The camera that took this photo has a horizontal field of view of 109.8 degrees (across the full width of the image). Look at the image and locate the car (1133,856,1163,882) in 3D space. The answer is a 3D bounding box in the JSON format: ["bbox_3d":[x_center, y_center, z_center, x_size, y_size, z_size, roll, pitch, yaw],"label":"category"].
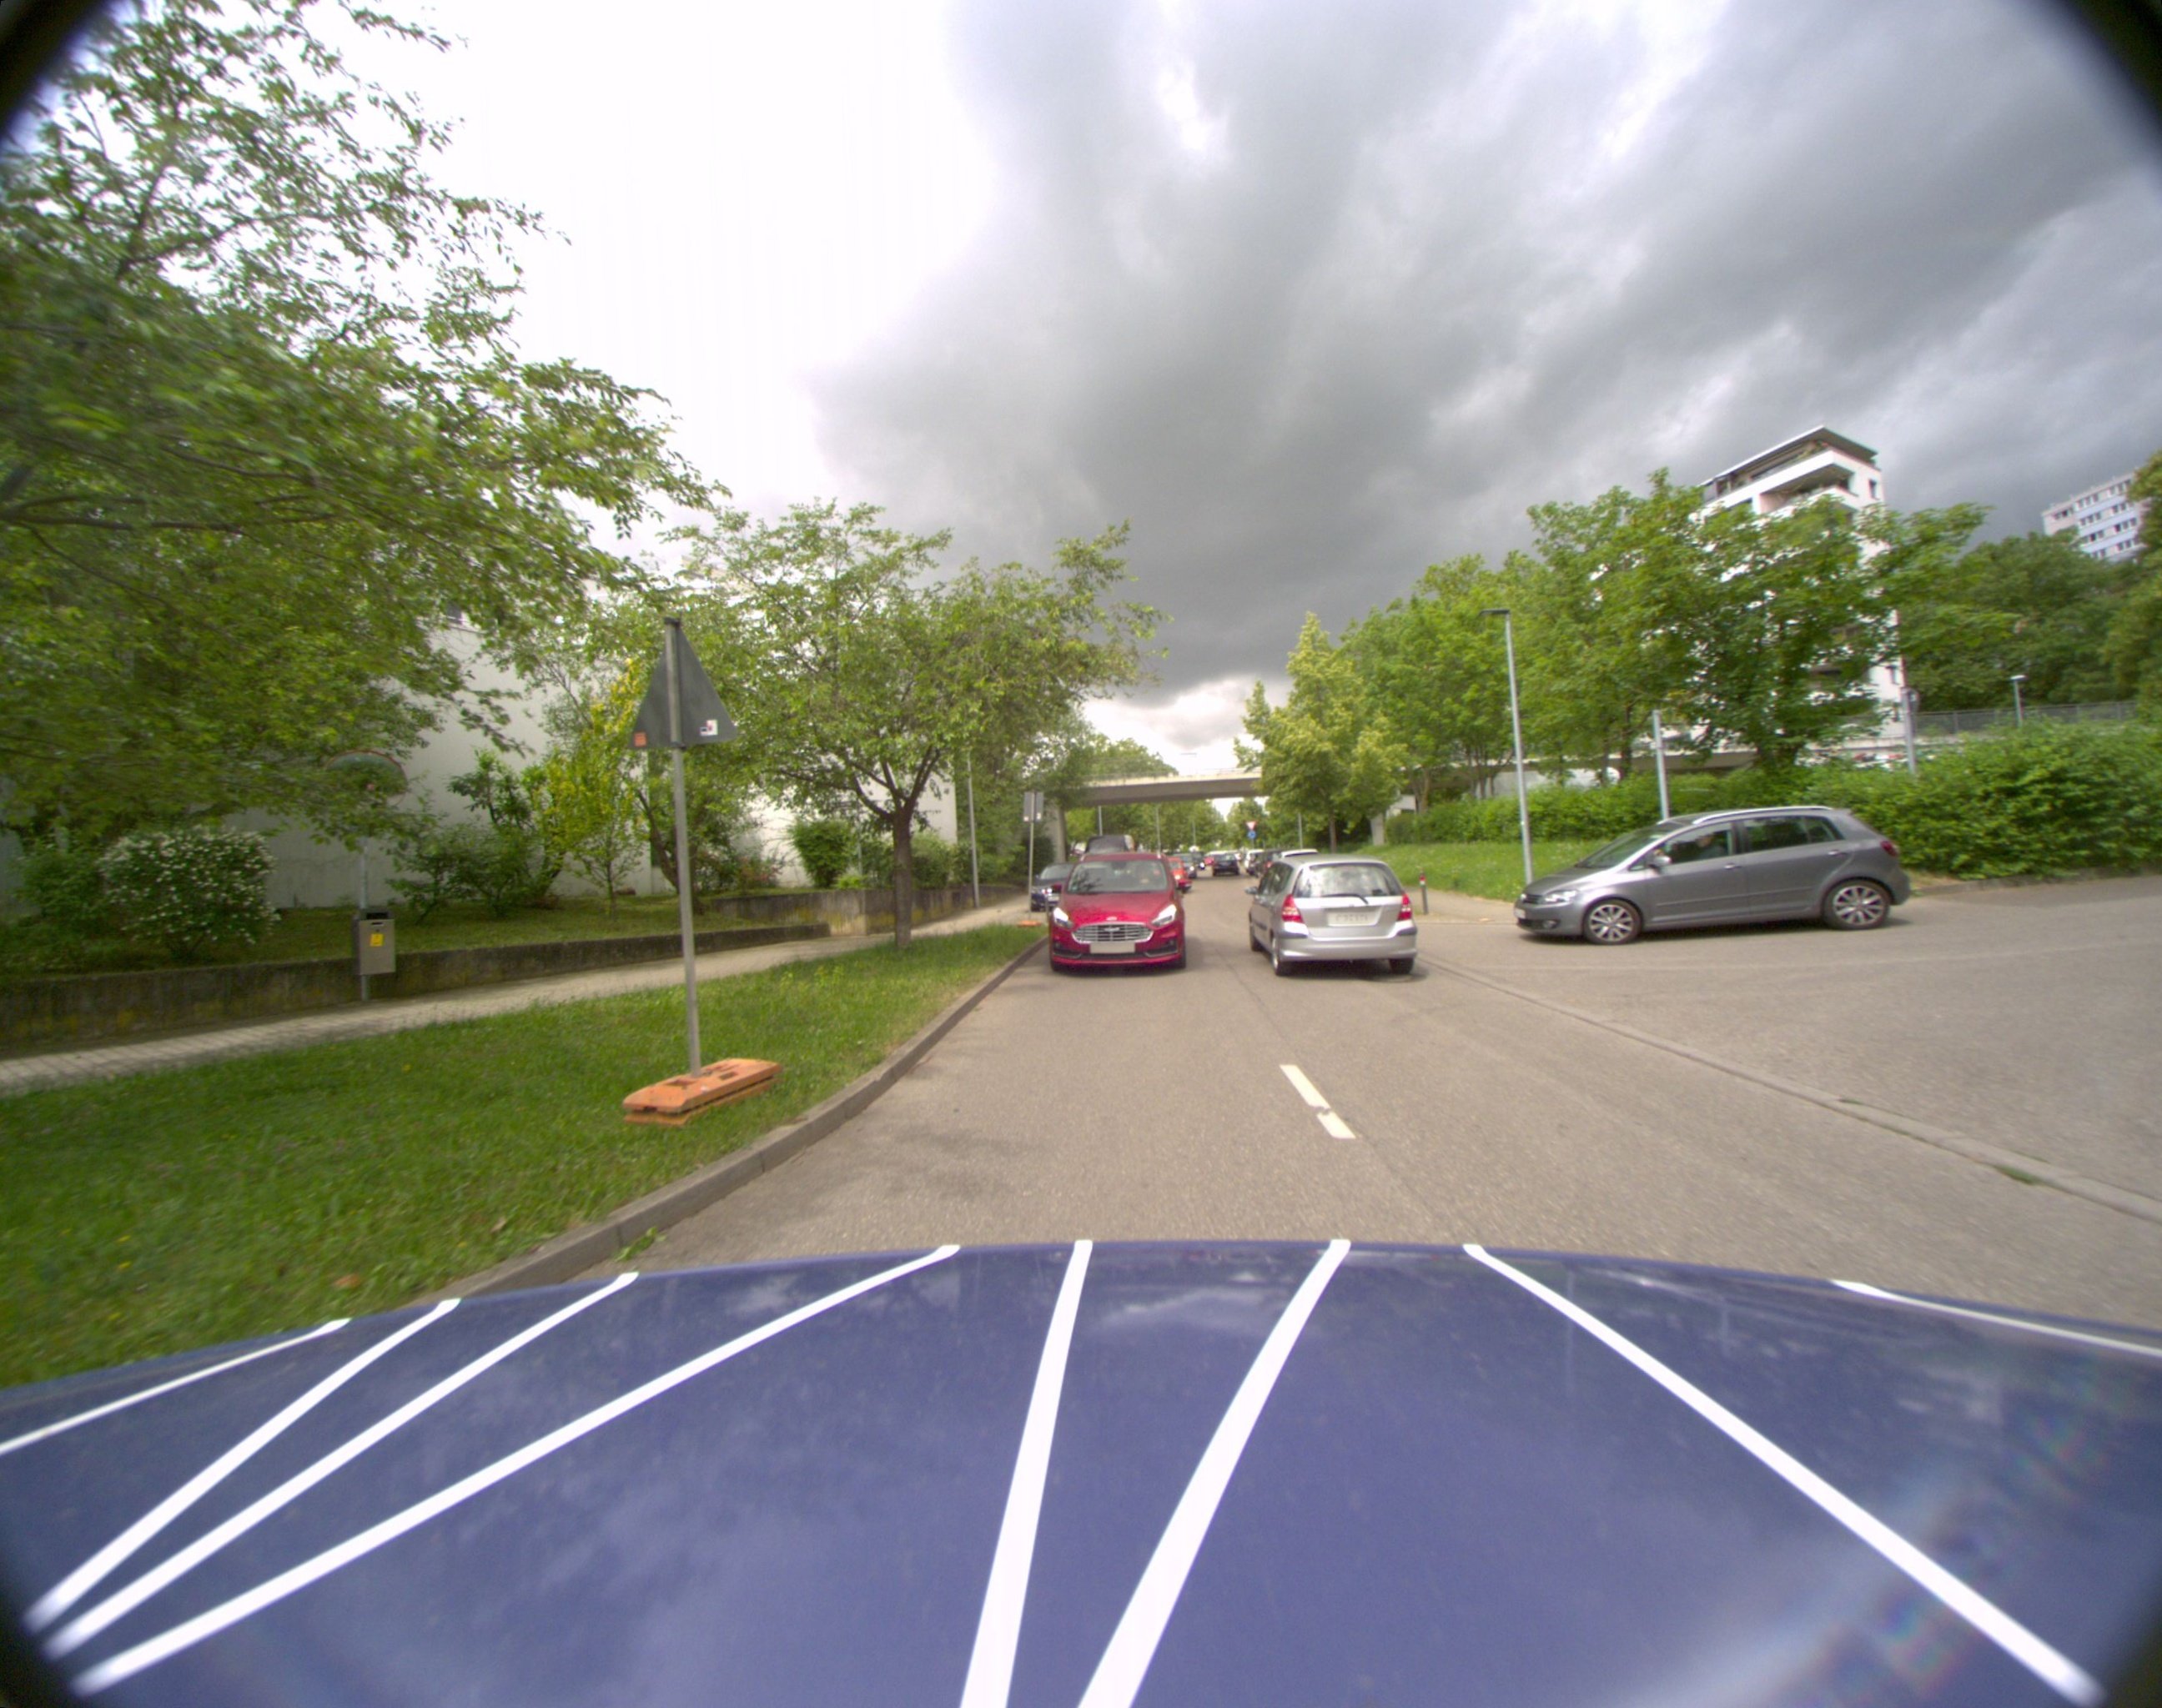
[{"bbox_3d":[4.521,0.978,51.157,1.603,1.533,3.725,-3,0,11],"label":"car"}]

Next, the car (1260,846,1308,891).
[{"bbox_3d":[8.331,0.563,31.366,1.597,1.575,2.687,-7,0,12],"label":"car"}]

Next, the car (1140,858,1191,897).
[{"bbox_3d":[3.579,0.945,31.624,1.860,1.434,4.003,-3,-1,9],"label":"car"}]

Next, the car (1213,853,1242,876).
[{"bbox_3d":[9.769,0.704,50.894,1.755,1.411,4.371,-2,0,10],"label":"car"}]

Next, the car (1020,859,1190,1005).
[{"bbox_3d":[0.528,0.936,10.715,1.811,1.600,3.725,-2,0,11],"label":"car"}]

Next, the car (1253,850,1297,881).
[{"bbox_3d":[10.455,0.572,41.165,1.812,1.472,4.489,-4,0,9],"label":"car"}]

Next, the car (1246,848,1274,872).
[{"bbox_3d":[12.698,0.376,53.667,1.811,1.561,3.726,-2,0,14],"label":"car"}]

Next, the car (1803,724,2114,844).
[{"bbox_3d":[18.746,-1.414,16.444,3.996,1.849,2.001,-8,0,6],"label":"car"}]

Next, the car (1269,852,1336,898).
[{"bbox_3d":[7.741,0.697,26.861,1.811,1.396,4.051,-3,0,10],"label":"car"}]

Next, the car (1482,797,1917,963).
[{"bbox_3d":[8.015,0.359,10.324,4.113,1.652,1.759,-7,0,14],"label":"car"}]

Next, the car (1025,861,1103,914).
[{"bbox_3d":[-0.422,0.973,23.401,1.694,1.411,4.003,-2,0,8],"label":"car"}]

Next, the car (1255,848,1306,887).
[{"bbox_3d":[9.284,0.583,35.656,1.812,1.575,3.988,-5,-1,9],"label":"car"}]

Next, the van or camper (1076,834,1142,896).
[{"bbox_3d":[1.360,0.433,33.932,1.997,2.481,5.762,-2,0,11],"label":"van or camper"}]

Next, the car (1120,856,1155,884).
[{"bbox_3d":[3.389,0.936,45.027,1.603,1.478,3.725,-3,0,11],"label":"car"}]

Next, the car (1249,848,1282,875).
[{"bbox_3d":[11.720,0.456,48.272,1.811,1.447,3.864,-6,0,14],"label":"car"}]

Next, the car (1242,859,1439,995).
[{"bbox_3d":[3.340,0.856,10.509,1.845,1.447,3.654,-3,0,7],"label":"car"}]

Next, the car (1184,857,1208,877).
[{"bbox_3d":[10.021,1.097,66.215,1.780,1.412,4.000,-5,2,6],"label":"car"}]

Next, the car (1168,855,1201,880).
[{"bbox_3d":[6.676,0.823,48.695,1.779,1.443,4.003,-3,0,12],"label":"car"}]
